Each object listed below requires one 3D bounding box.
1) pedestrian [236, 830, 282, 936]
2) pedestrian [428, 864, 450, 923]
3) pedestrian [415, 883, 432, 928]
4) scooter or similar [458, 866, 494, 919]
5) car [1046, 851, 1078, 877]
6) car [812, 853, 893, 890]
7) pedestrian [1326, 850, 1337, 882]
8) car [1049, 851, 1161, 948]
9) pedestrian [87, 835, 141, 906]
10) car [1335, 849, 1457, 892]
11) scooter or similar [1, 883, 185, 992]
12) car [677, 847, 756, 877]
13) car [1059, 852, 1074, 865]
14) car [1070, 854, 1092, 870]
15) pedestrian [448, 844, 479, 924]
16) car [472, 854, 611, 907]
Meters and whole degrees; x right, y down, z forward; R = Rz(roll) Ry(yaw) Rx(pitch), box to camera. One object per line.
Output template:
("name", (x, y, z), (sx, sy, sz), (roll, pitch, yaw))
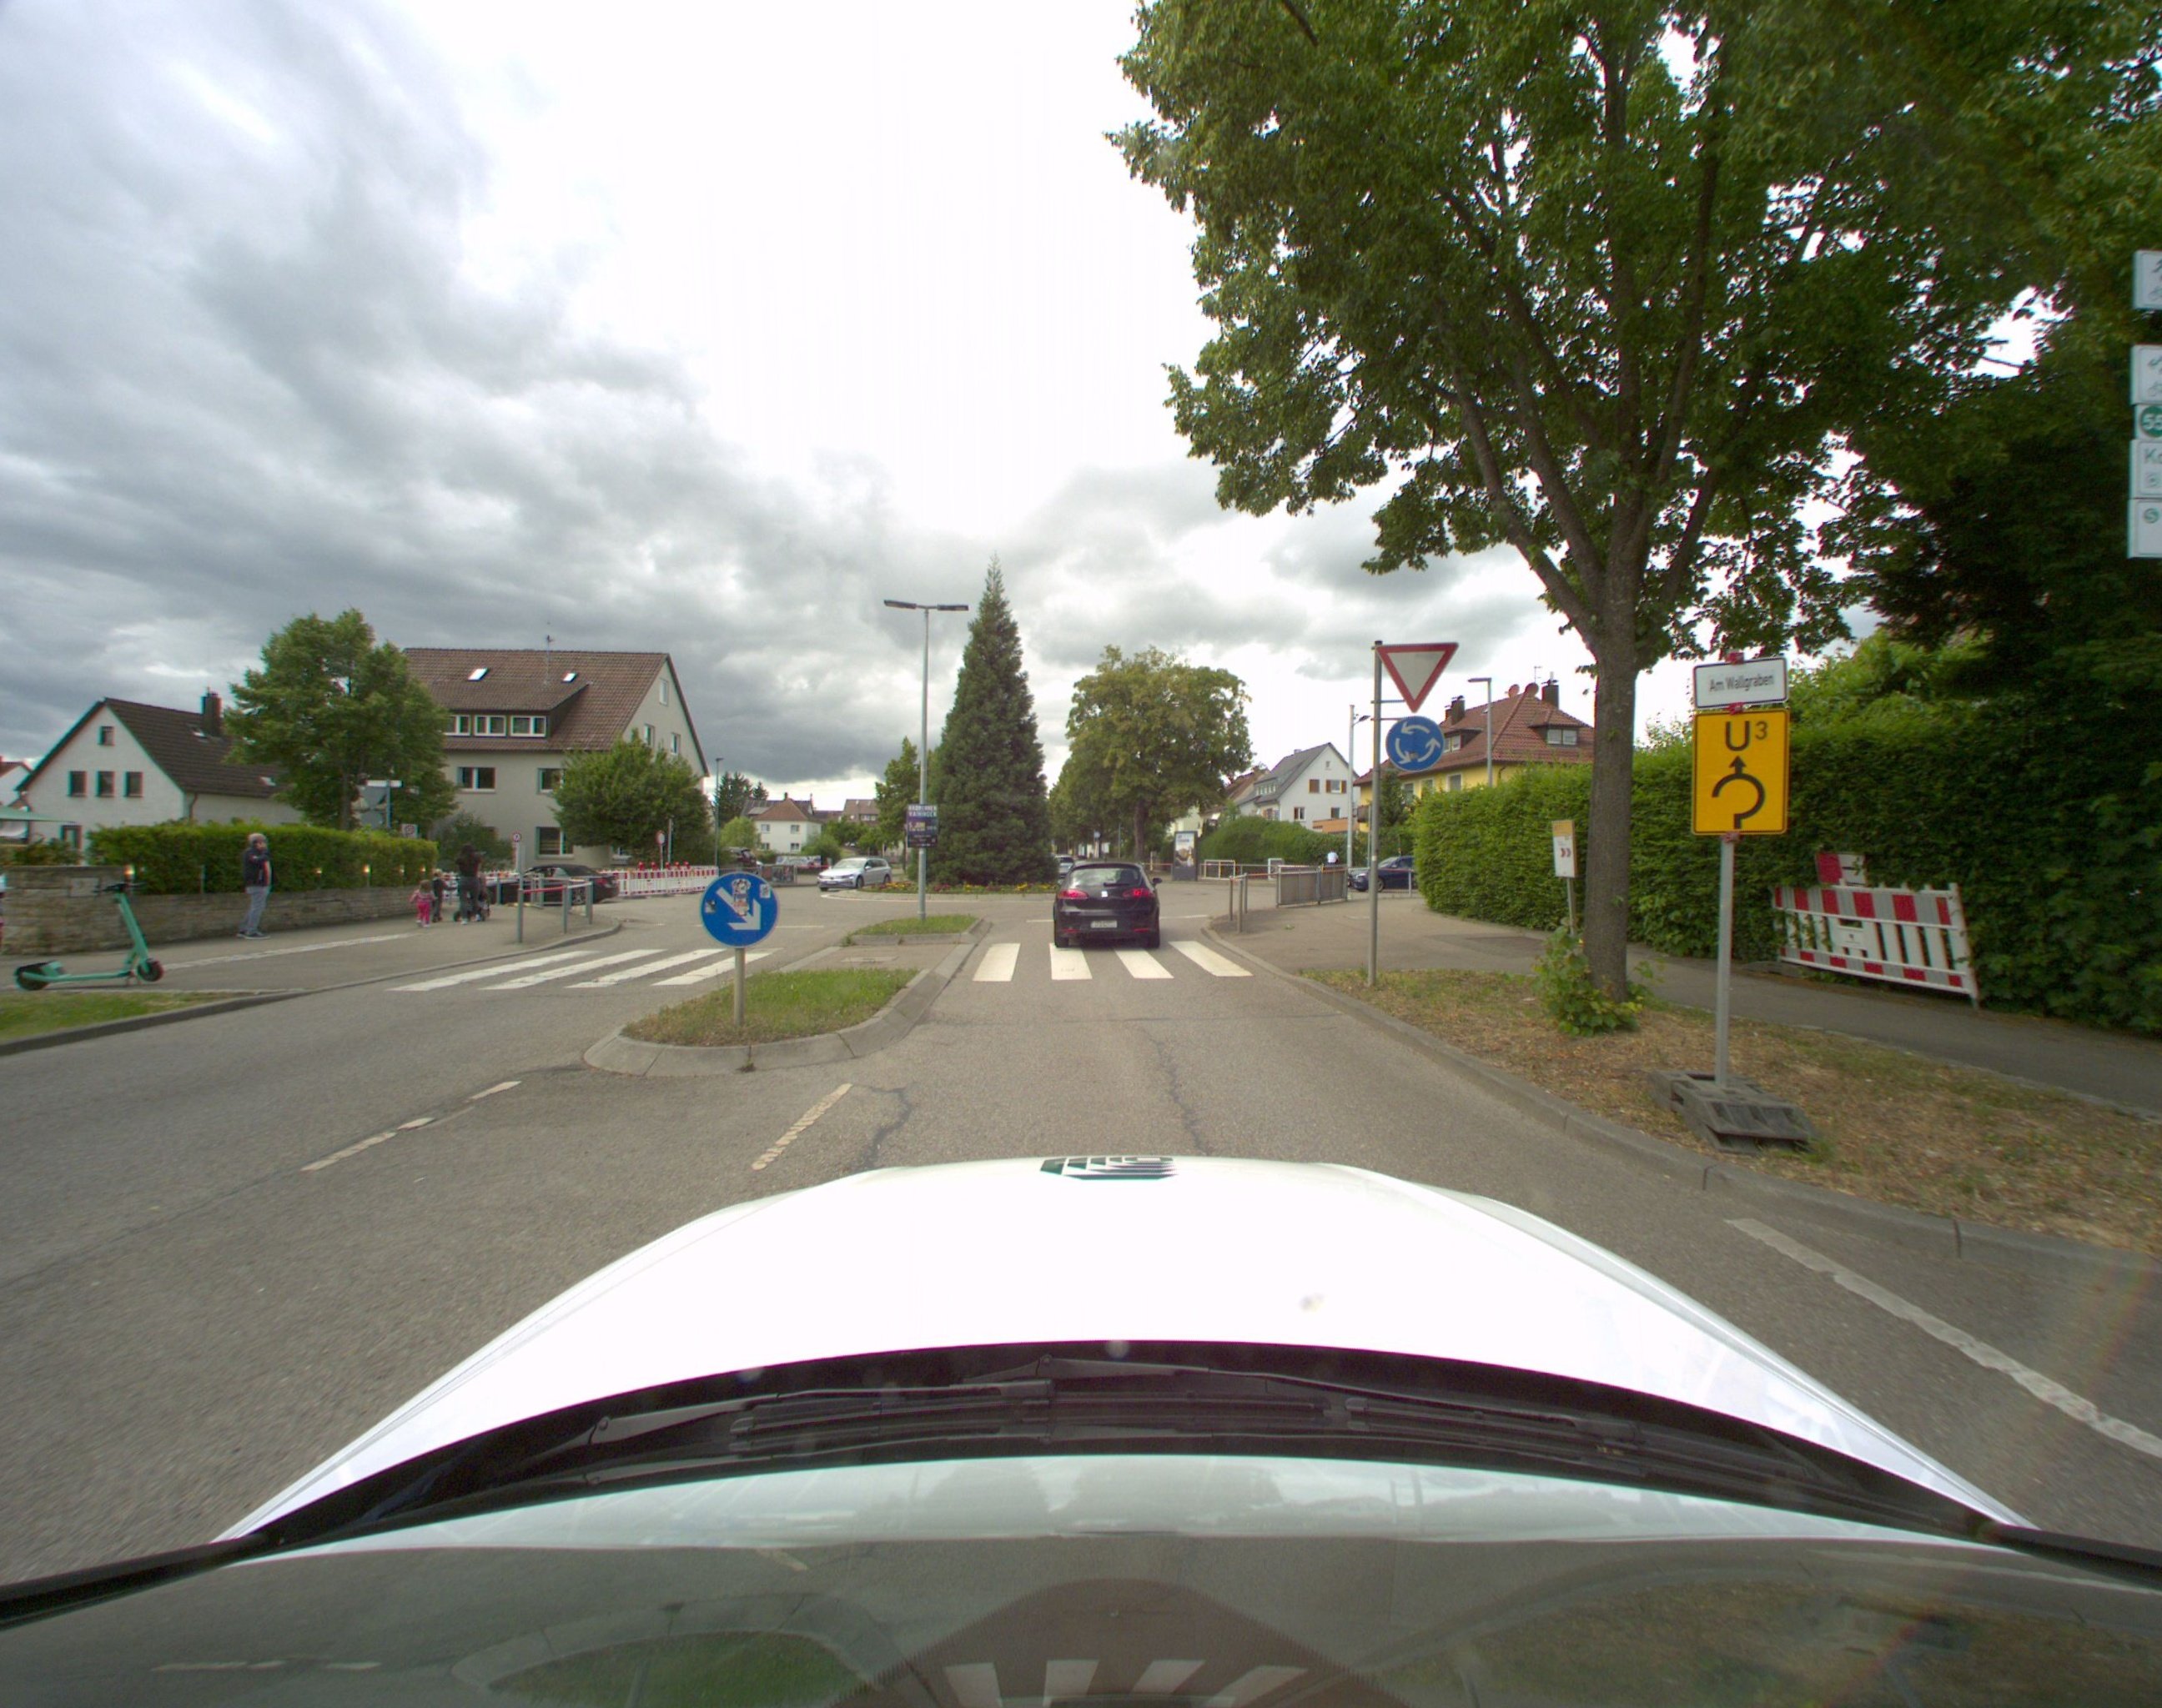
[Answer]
("pedestrian", (-14.286, 0.489, 14.158), (0.544, 1.784, 0.555), (0, 0, -45))
("pedestrian", (-13.820, 0.834, 17.547), (0.344, 1.244, 0.350), (0, 0, -34))
("pedestrian", (-13.201, 1.027, 16.348), (0.240, 0.894, 0.257), (1, -1, -35))
("scooter or similar", (-13.375, 0.842, 18.030), (0.407, 1.095, 0.962), (3, -1, -25))
("car", (-1.254, 0.639, 52.675), (1.989, 1.613, 3.996), (1, 0, -2))
("car", (-10.215, 0.742, 36.718), (1.858, 1.560, 4.271), (0, 0, 9))
("pedestrian", (12.127, 0.587, 39.392), (0.486, 1.533, 0.487), (0, 0, 21))
("car", (0.531, 0.703, 14.558), (1.724, 1.486, 4.005), (0, 0, 5))
("pedestrian", (-21.502, 0.360, 18.111), (0.654, 1.539, 0.504), (0, 0, -34))
("car", (12.897, 0.649, 33.470), (4.384, 1.661, 1.649), (1, 0, -1))
("scooter or similar", (-11.269, 0.922, 9.338), (1.292, 1.139, 0.344), (0, 0, -33))
("car", (-19.917, 0.429, 44.585), (3.574, 1.611, 1.601), (0, 0, 2))
("car", (-1.767, 0.569, 97.844), (1.591, 1.510, 3.596), (0, 0, -3))
("car", (-0.065, 0.746, 76.428), (1.475, 1.489, 3.369), (0, 0, -11))
("pedestrian", (-13.113, 0.629, 17.302), (0.485, 1.669, 0.510), (0, 0, -35))
("car", (-17.779, 0.840, 27.014), (3.626, 1.634, 1.561), (0, 0, -24))
